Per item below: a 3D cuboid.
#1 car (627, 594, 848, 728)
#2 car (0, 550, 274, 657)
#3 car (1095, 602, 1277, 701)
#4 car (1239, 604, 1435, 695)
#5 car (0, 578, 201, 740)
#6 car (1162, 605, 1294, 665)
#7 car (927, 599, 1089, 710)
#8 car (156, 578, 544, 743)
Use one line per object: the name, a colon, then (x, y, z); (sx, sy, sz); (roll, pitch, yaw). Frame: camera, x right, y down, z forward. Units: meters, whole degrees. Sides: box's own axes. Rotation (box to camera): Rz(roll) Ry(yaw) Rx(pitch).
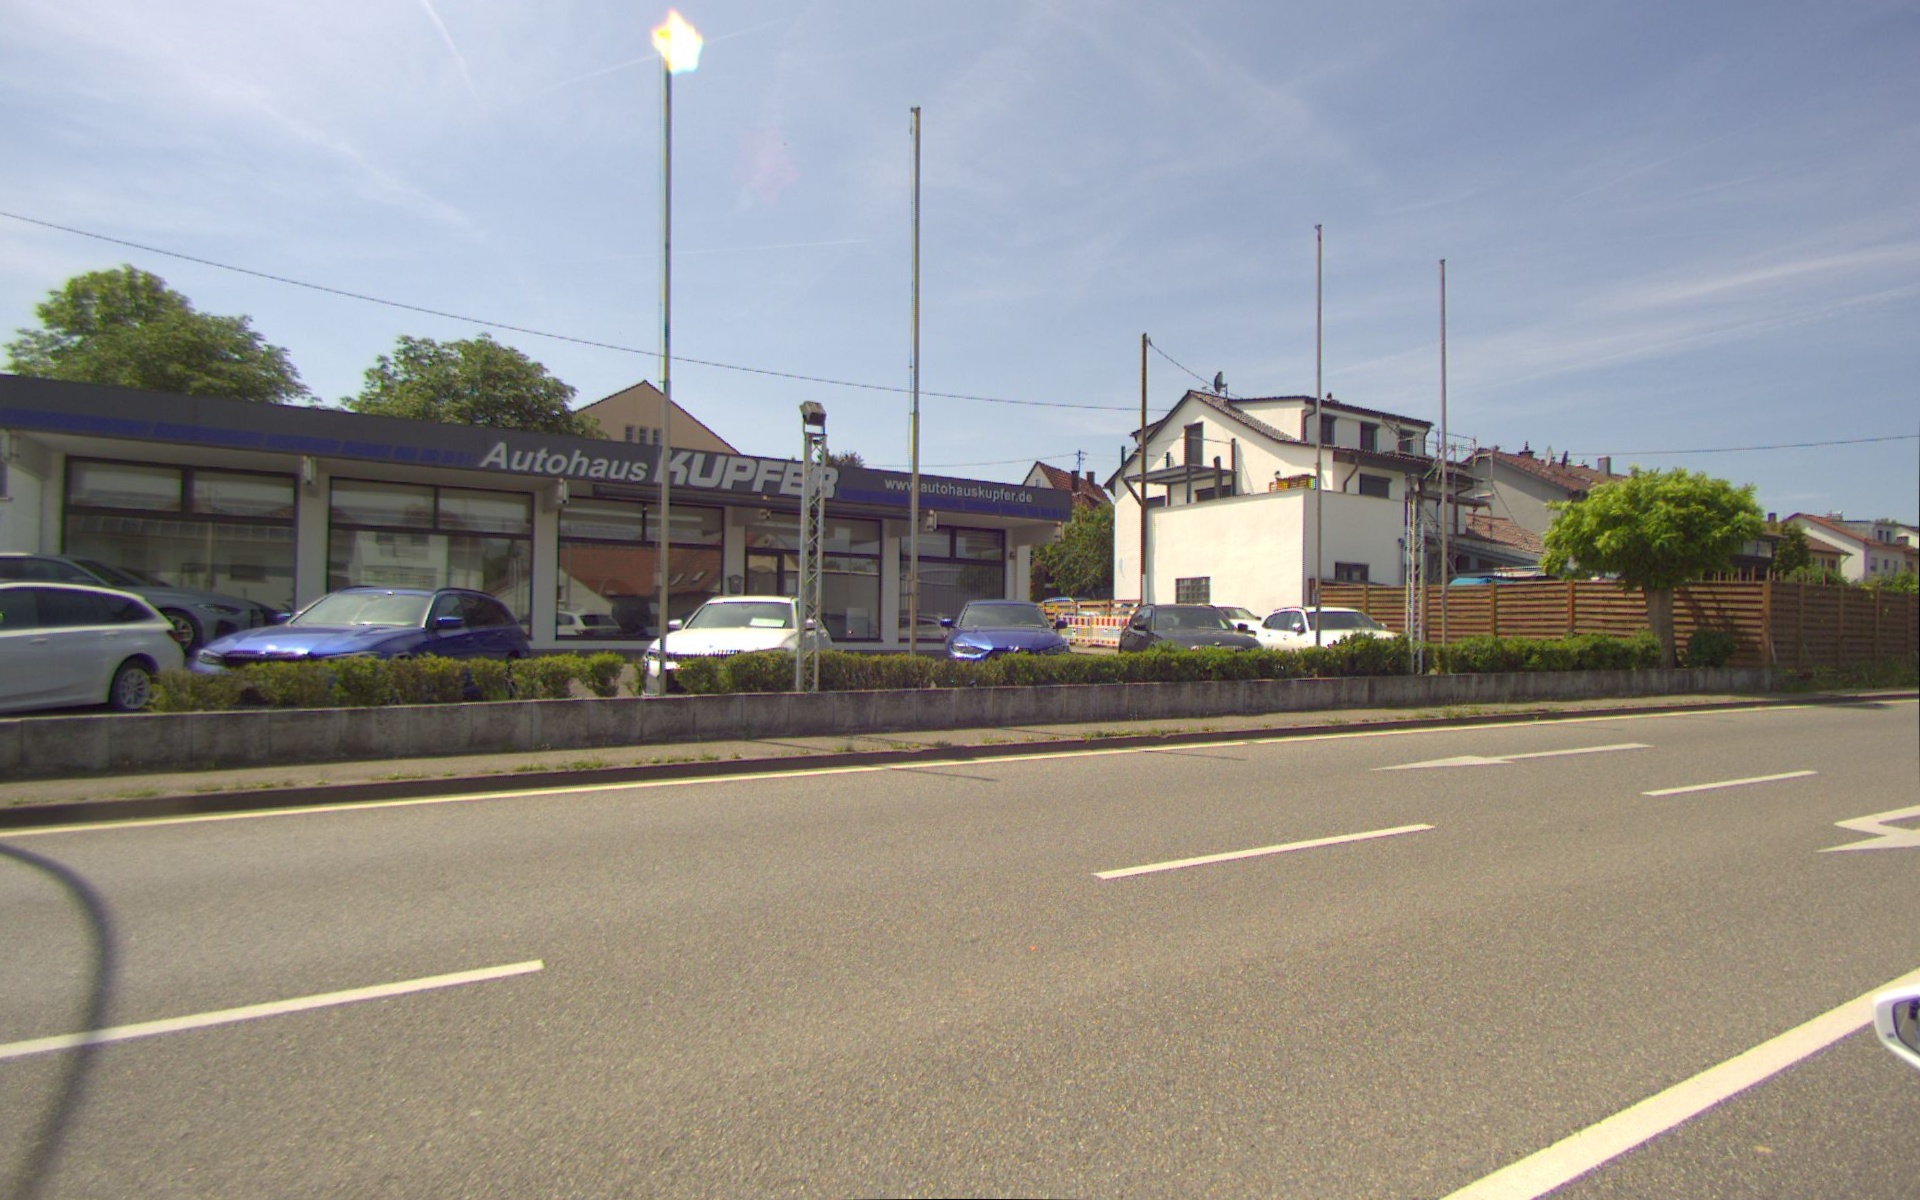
car: (-2.764, 0.684, 13.573); (1.820, 1.467, 4.516); (1, 0, 2)
car: (-13.153, 0.053, 14.961); (4.514, 1.484, 1.801); (1, 0, -21)
car: (3.818, 0.808, 17.819); (1.863, 1.467, 4.339); (2, 0, -5)
car: (7.116, 0.869, 19.498); (1.822, 1.467, 4.339); (2, 0, -5)
car: (-9.949, 0.544, 9.687); (1.821, 1.467, 4.579); (2, 1, -2)
car: (7.565, 0.943, 28.746); (1.805, 1.530, 3.985); (1, 0, -17)
car: (0.599, 0.755, 15.978); (1.823, 1.467, 4.337); (2, 0, -7)
car: (-6.546, 0.568, 11.480); (1.821, 1.467, 4.341); (2, 0, -2)
